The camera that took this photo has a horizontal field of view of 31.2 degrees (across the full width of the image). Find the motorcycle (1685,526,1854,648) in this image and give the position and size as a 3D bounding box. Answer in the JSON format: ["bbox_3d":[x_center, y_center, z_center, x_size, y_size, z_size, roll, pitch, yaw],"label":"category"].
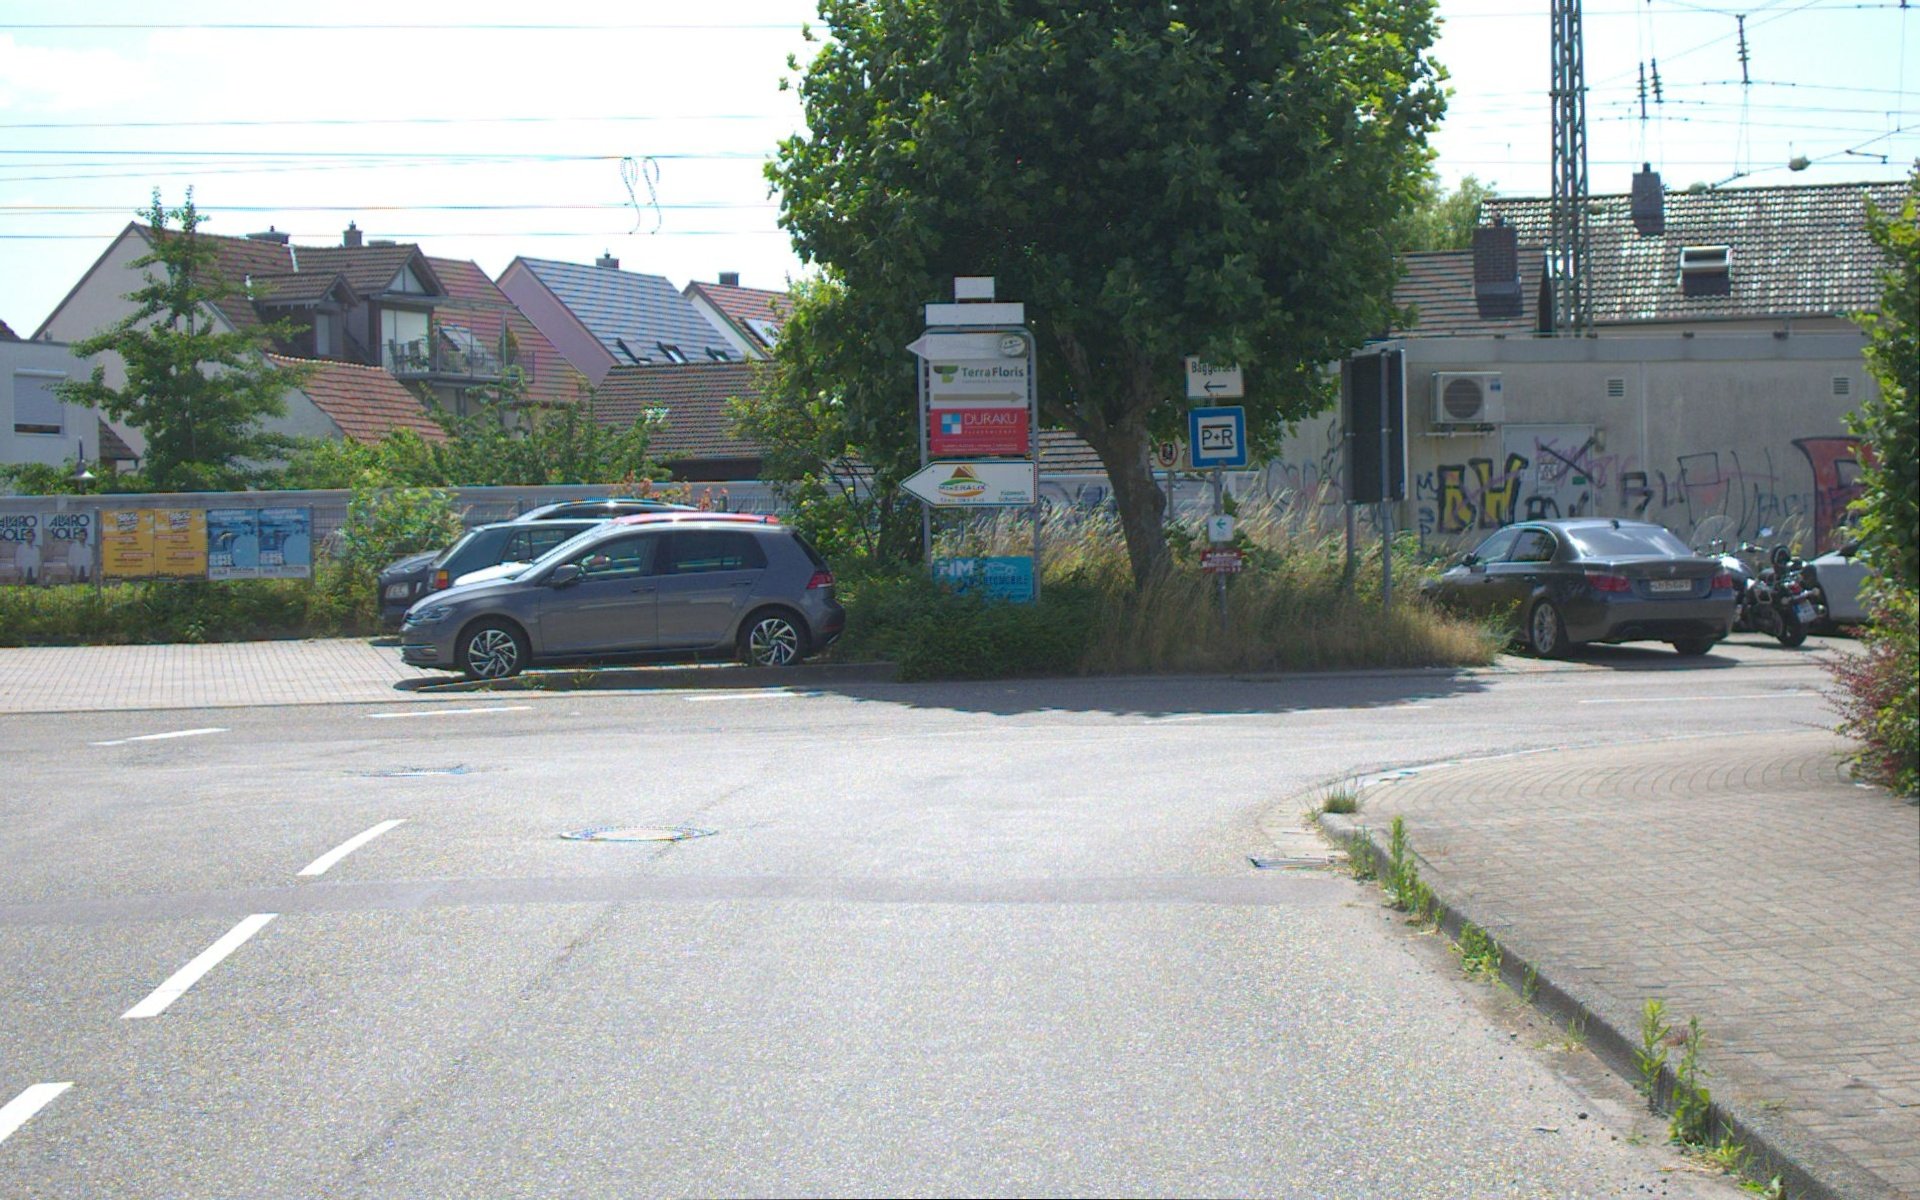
[{"bbox_3d":[8.694,-0.158,37.011,0.897,1.224,1.997,-1,3,-16],"label":"motorcycle"}]

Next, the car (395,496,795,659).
[{"bbox_3d":[-3.801,-0.242,35.522,3.986,1.581,1.780,-1,1,-9],"label":"car"}]

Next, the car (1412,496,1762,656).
[{"bbox_3d":[6.494,-0.293,36.058,1.751,1.381,4.002,0,4,-20],"label":"car"}]

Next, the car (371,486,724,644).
[{"bbox_3d":[-4.858,-0.404,40.269,3.986,1.724,1.771,1,0,-10],"label":"car"}]

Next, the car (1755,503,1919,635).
[{"bbox_3d":[10.784,-0.351,38.483,1.702,1.373,4.116,0,2,-19],"label":"car"}]

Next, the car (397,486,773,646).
[{"bbox_3d":[-4.172,-0.395,37.934,3.986,1.652,2.001,-1,1,-10],"label":"car"}]

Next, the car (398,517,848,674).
[{"bbox_3d":[-3.249,-0.052,32.908,4.186,1.458,1.665,0,1,-9],"label":"car"}]
